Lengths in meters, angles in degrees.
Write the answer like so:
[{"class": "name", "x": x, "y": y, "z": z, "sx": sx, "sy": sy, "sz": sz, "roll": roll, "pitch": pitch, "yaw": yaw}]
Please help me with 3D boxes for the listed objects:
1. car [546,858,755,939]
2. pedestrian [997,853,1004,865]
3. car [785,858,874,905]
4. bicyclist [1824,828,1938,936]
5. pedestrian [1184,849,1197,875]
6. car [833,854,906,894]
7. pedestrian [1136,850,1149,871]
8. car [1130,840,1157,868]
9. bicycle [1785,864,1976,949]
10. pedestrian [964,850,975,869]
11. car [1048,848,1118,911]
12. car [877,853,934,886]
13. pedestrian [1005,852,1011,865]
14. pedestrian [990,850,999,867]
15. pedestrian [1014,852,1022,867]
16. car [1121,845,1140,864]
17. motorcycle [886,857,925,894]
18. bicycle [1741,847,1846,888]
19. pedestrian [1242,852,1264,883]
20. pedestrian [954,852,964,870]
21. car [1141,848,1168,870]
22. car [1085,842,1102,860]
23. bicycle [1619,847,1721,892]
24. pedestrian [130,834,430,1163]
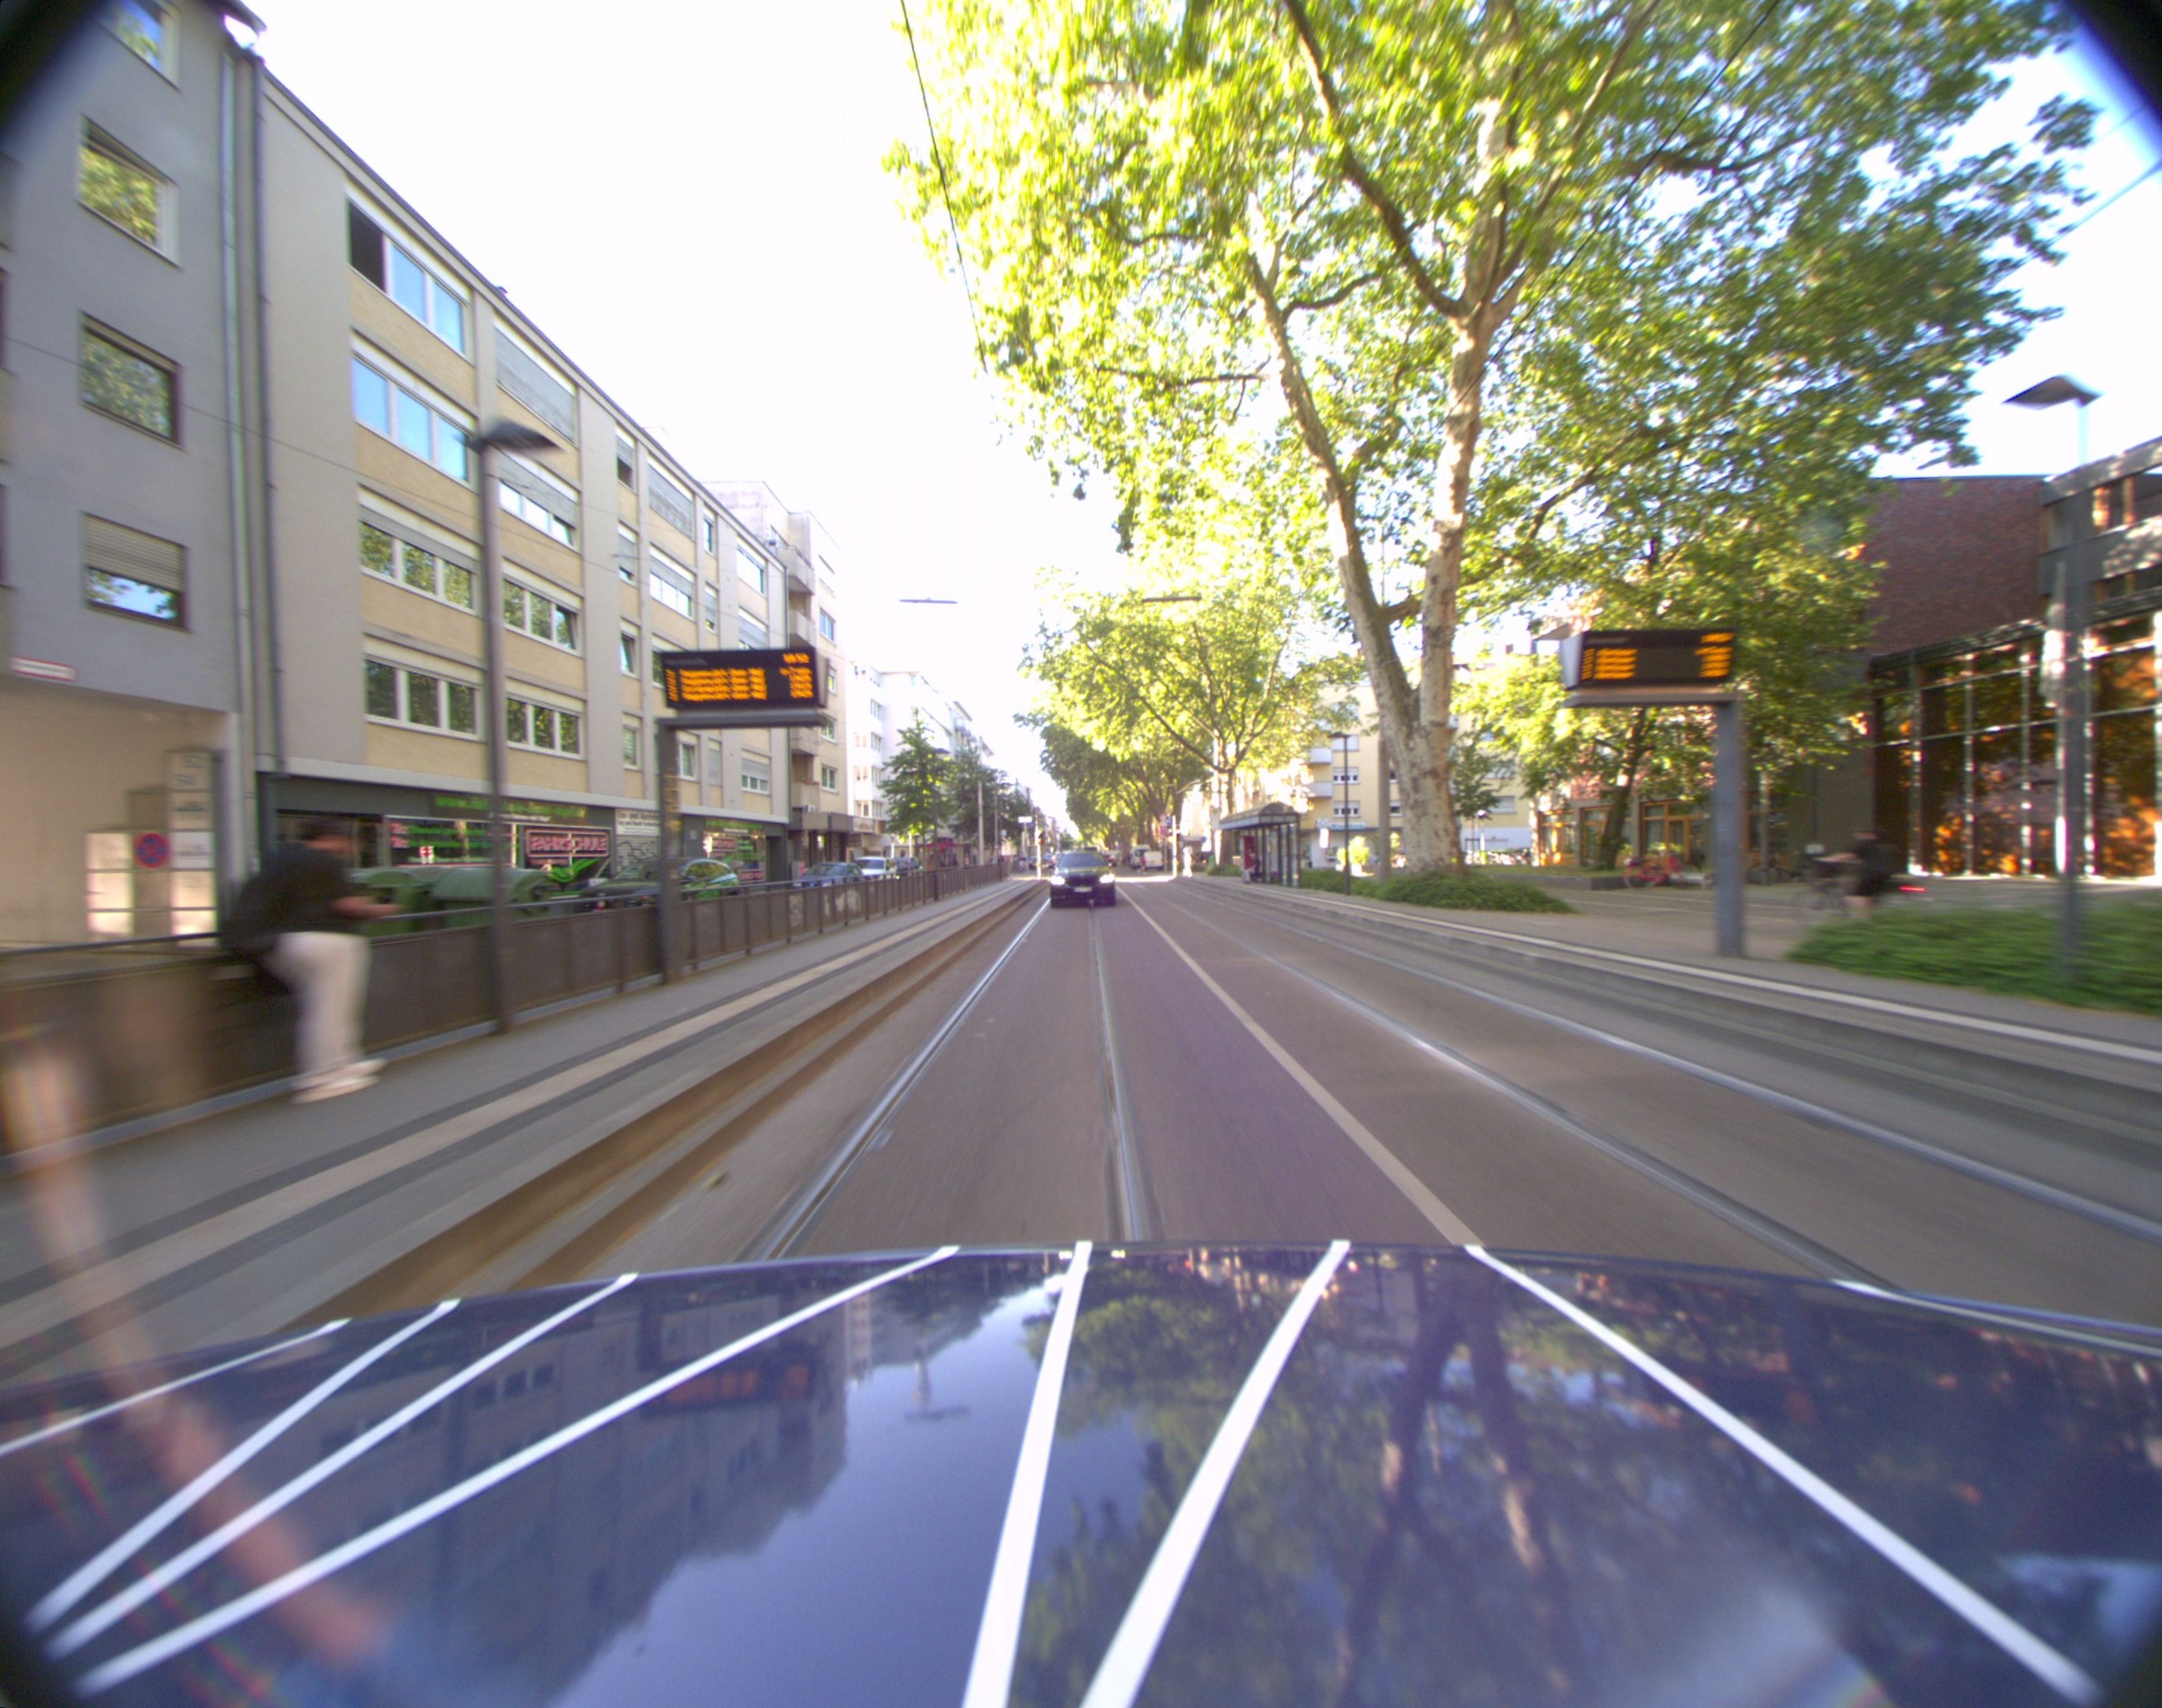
[{"class": "car", "x": -9.692, "y": 0.907, "z": 17.668, "sx": 1.958, "sy": 1.474, "sz": 4.660, "roll": -3, "pitch": 1, "yaw": 3}, {"class": "pedestrian", "x": -10.967, "y": 0.658, "z": 103.501, "sx": 0.685, "sy": 1.645, "sz": 0.836, "roll": -2, "pitch": 1, "yaw": -1}, {"class": "car", "x": -9.238, "y": 0.960, "z": 28.273, "sx": 1.899, "sy": 1.477, "sz": 4.000, "roll": -2, "pitch": 1, "yaw": 1}, {"class": "bicyclist", "x": 11.768, "y": 0.388, "z": 11.209, "sx": 0.735, "sy": 1.506, "sz": 0.892, "roll": -2, "pitch": 1, "yaw": 3}, {"class": "pedestrian", "x": 6.878, "y": 0.480, "z": 47.875, "sx": 0.708, "sy": 1.585, "sz": 0.561, "roll": -2, "pitch": 1, "yaw": 2}, {"class": "car", "x": -9.229, "y": 0.828, "z": 33.466, "sx": 1.998, "sy": 1.572, "sz": 4.000, "roll": -2, "pitch": 1, "yaw": 1}, {"class": "pedestrian", "x": 5.045, "y": 0.528, "z": 62.108, "sx": 0.970, "sy": 1.645, "sz": 0.685, "roll": -2, "pitch": 1, "yaw": 2}, {"class": "car", "x": 6.715, "y": -0.049, "z": 82.196, "sx": 2.429, "sy": 2.833, "sz": 5.072, "roll": -3, "pitch": 1, "yaw": 0}, {"class": "bicycle", "x": 11.788, "y": 0.726, "z": 11.320, "sx": 0.748, "sy": 1.088, "sz": 2.039, "roll": -2, "pitch": 1, "yaw": 3}, {"class": "pedestrian", "x": -10.246, "y": 0.484, "z": 69.765, "sx": 0.752, "sy": 1.645, "sz": 0.970, "roll": -2, "pitch": 1, "yaw": -1}, {"class": "car", "x": 0.046, "y": 0.706, "z": 24.482, "sx": 1.937, "sy": 1.719, "sz": 5.072, "roll": -3, "pitch": 1, "yaw": 0}, {"class": "car", "x": -9.330, "y": 0.801, "z": 40.684, "sx": 1.998, "sy": 1.583, "sz": 4.000, "roll": -2, "pitch": 1, "yaw": 1}, {"class": "pedestrian", "x": -10.012, "y": 0.620, "z": 103.563, "sx": 0.685, "sy": 1.645, "sz": 0.836, "roll": -2, "pitch": 1, "yaw": -1}, {"class": "pedestrian", "x": -9.007, "y": 0.471, "z": 79.239, "sx": 0.752, "sy": 1.645, "sz": 0.970, "roll": -2, "pitch": 1, "yaw": -1}, {"class": "pedestrian", "x": -7.491, "y": 0.659, "z": 90.173, "sx": 0.752, "sy": 1.645, "sz": 0.970, "roll": -2, "pitch": 1, "yaw": -1}, {"class": "car", "x": 6.479, "y": 0.056, "z": 100.181, "sx": 2.142, "sy": 2.275, "sz": 4.964, "roll": -3, "pitch": 1, "yaw": 0}, {"class": "motorcycle", "x": -7.362, "y": 0.877, "z": 31.997, "sx": 1.054, "sy": 1.446, "sz": 2.208, "roll": -2, "pitch": 1, "yaw": 1}, {"class": "bicycle", "x": 19.979, "y": 0.372, "z": 21.356, "sx": 0.823, "sy": 1.088, "sz": 2.033, "roll": -3, "pitch": 1, "yaw": -37}, {"class": "pedestrian", "x": 6.818, "y": 0.543, "z": 30.150, "sx": 0.708, "sy": 1.197, "sz": 0.473, "roll": -2, "pitch": 1, "yaw": 2}, {"class": "pedestrian", "x": -11.487, "y": 0.649, "z": 71.425, "sx": 0.752, "sy": 1.645, "sz": 0.970, "roll": -2, "pitch": 1, "yaw": -1}, {"class": "car", "x": 6.905, "y": 0.445, "z": 72.022, "sx": 2.041, "sy": 1.881, "sz": 5.072, "roll": -3, "pitch": 1, "yaw": 0}, {"class": "car", "x": 1.728, "y": -0.469, "z": 104.810, "sx": 2.142, "sy": 2.275, "sz": 4.964, "roll": -3, "pitch": 1, "yaw": 0}, {"class": "bicycle", "x": 16.684, "y": 0.447, "z": 21.591, "sx": 2.098, "sy": 1.182, "sz": 0.882, "roll": -2, "pitch": 1, "yaw": 17}, {"class": "pedestrian", "x": -4.267, "y": 0.689, "z": 4.108, "sx": 0.648, "sy": 1.567, "sz": 0.855, "roll": -2, "pitch": 1, "yaw": 18}]
